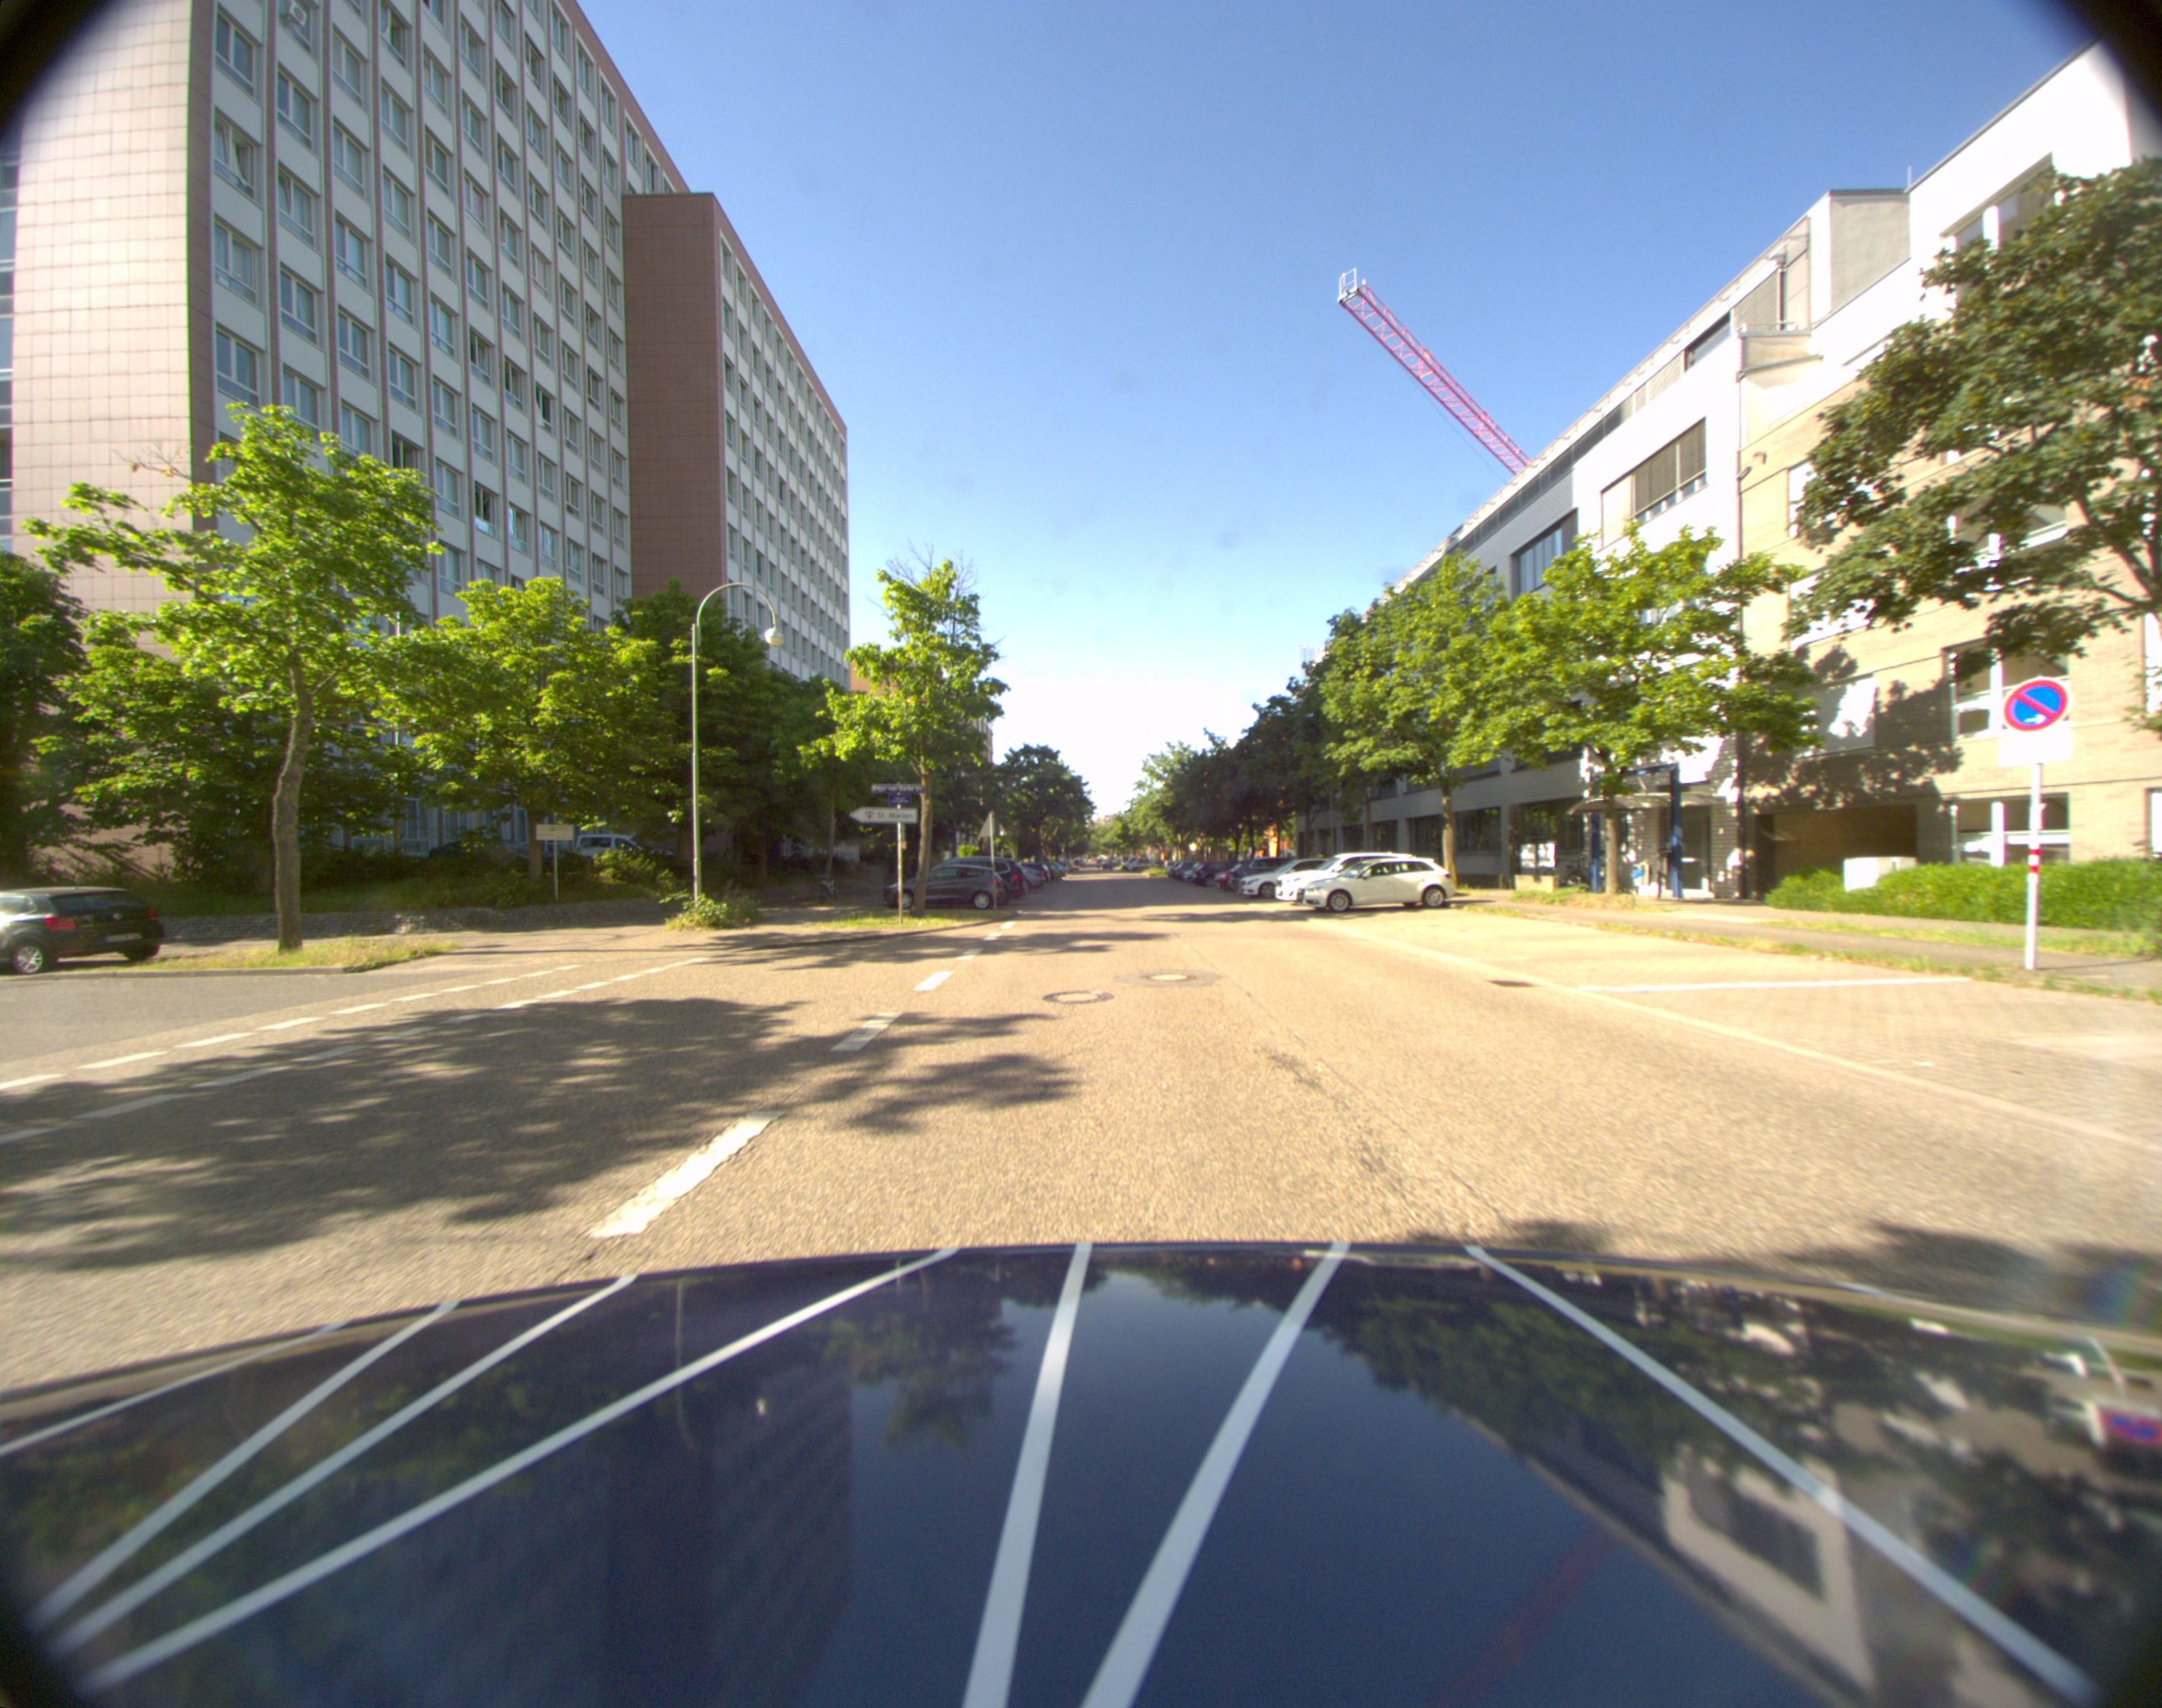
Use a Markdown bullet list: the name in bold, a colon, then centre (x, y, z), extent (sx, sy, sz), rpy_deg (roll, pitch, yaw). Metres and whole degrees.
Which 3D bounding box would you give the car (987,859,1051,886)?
- **car**: centre (-3.551, 1.084, 44.014), extent (3.581, 1.498, 1.724), rpy_deg (0, 0, 0)

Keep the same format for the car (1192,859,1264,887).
- **car**: centre (8.524, 1.104, 44.255), extent (3.832, 1.405, 1.688), rpy_deg (-3, -1, 0)

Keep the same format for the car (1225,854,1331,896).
- **car**: centre (8.426, 0.898, 32.755), extent (4.122, 1.611, 1.803), rpy_deg (-2, 0, 2)

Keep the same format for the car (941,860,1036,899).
- **car**: centre (-3.885, 1.068, 32.359), extent (3.881, 1.556, 1.808), rpy_deg (0, 0, -4)

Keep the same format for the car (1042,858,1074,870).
- **car**: centre (-3.028, 1.267, 100.277), extent (3.996, 1.463, 1.953), rpy_deg (-2, 0, 2)

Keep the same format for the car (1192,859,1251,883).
- **car**: centre (9.204, 1.098, 49.928), extent (3.539, 1.437, 1.657), rpy_deg (-2, 0, -2)

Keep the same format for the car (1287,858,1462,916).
- **car**: centre (8.235, 0.906, 21.599), extent (4.269, 1.471, 1.800), rpy_deg (-1, 0, 0)

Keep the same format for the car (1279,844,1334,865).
- **car**: centre (24.211, 0.055, 81.610), extent (5.328, 2.086, 1.932), rpy_deg (-2, 0, -1)

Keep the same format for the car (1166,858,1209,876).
- **car**: centre (9.637, 1.182, 69.036), extent (3.630, 1.499, 1.618), rpy_deg (-2, 0, -1)

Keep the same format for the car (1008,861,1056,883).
- **car**: centre (-3.477, 1.255, 54.000), extent (3.203, 1.471, 1.589), rpy_deg (0, 1, 4)

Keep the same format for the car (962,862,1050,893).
- **car**: centre (-3.930, 1.229, 40.208), extent (4.431, 1.544, 1.859), rpy_deg (-1, 0, 0)

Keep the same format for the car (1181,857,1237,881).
- **car**: centre (8.740, 1.000, 52.071), extent (3.527, 1.520, 1.657), rpy_deg (-2, 0, 0)

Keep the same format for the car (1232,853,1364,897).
- **car**: centre (8.384, 0.803, 29.666), extent (4.521, 1.443, 1.941), rpy_deg (-2, 0, -3)

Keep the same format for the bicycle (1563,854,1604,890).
- **bicycle**: centre (17.132, 0.587, 25.940), extent (0.338, 1.168, 1.627), rpy_deg (-2, 0, 1)

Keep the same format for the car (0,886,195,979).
- **car**: centre (-19.132, 1.416, 13.807), extent (3.996, 1.439, 1.769), rpy_deg (-2, 1, 2)

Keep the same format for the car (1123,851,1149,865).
- **car**: centre (8.899, 0.673, 122.914), extent (3.997, 2.094, 2.000), rpy_deg (-2, 0, -1)

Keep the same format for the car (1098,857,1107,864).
- **car**: centre (5.179, 1.651, 181.789), extent (1.951, 1.617, 4.001), rpy_deg (-1, 0, 4)

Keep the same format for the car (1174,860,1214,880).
- **car**: centre (8.773, 1.243, 59.035), extent (2.933, 1.435, 1.389), rpy_deg (-1, 0, 1)

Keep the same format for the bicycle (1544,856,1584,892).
- **bicycle**: centre (16.193, 0.658, 25.503), extent (0.338, 1.168, 1.627), rpy_deg (-2, 0, 1)

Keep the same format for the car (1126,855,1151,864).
- **car**: centre (9.645, 0.942, 128.125), extent (3.997, 1.406, 1.594), rpy_deg (-1, 0, -1)

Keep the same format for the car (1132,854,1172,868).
- **car**: centre (9.655, 0.955, 103.381), extent (5.252, 1.615, 1.953), rpy_deg (-2, 0, 2)

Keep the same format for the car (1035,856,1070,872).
- **car**: centre (-3.361, 1.178, 90.289), extent (4.164, 1.696, 2.000), rpy_deg (-2, 0, -1)

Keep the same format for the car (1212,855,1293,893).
- **car**: centre (8.330, 0.960, 37.083), extent (3.580, 1.658, 1.655), rpy_deg (-2, 0, 3)

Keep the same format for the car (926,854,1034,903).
- **car**: centre (-3.703, 0.888, 28.267), extent (3.680, 1.741, 1.725), rpy_deg (0, 0, 3)

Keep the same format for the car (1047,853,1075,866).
- **car**: centre (-2.868, 0.776, 108.582), extent (3.998, 1.773, 1.952), rpy_deg (-2, 0, -3)

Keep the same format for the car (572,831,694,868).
- **car**: centre (-21.755, -0.203, 37.038), extent (4.729, 1.676, 1.875), rpy_deg (-1, 0, -3)

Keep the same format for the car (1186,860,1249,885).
- **car**: centre (8.400, 1.119, 46.923), extent (3.539, 1.428, 1.657), rpy_deg (-2, 0, 0)

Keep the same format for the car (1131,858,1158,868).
- **car**: centre (9.570, 1.339, 115.540), extent (3.967, 1.463, 1.953), rpy_deg (-2, 0, 2)

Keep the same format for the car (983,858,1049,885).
- **car**: centre (-3.962, 1.047, 46.674), extent (3.982, 1.540, 1.683), rpy_deg (-1, 0, -3)

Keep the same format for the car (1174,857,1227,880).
- **car**: centre (8.560, 1.011, 54.579), extent (3.539, 1.497, 1.646), rpy_deg (-2, 0, 0)

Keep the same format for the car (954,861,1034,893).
- **car**: centre (-4.241, 1.121, 37.303), extent (3.720, 1.472, 1.724), rpy_deg (0, 0, 0)

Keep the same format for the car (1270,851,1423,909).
- **car**: centre (8.491, 0.817, 24.603), extent (4.235, 1.593, 1.953), rpy_deg (-3, 1, 1)

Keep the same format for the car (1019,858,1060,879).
- **car**: centre (-3.242, 1.167, 59.929), extent (3.053, 1.595, 1.605), rpy_deg (0, 0, 3)

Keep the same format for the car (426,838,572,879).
- **car**: centre (-22.730, 0.159, 29.804), extent (4.237, 1.498, 1.723), rpy_deg (-1, 0, -5)

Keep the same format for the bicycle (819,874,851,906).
- **bicycle**: centre (-8.465, 1.228, 26.222), extent (0.302, 0.987, 1.958), rpy_deg (-2, 0, 5)

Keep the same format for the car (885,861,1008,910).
- **car**: centre (-4.452, 1.055, 25.603), extent (3.845, 1.438, 1.592), rpy_deg (2, -2, -2)
